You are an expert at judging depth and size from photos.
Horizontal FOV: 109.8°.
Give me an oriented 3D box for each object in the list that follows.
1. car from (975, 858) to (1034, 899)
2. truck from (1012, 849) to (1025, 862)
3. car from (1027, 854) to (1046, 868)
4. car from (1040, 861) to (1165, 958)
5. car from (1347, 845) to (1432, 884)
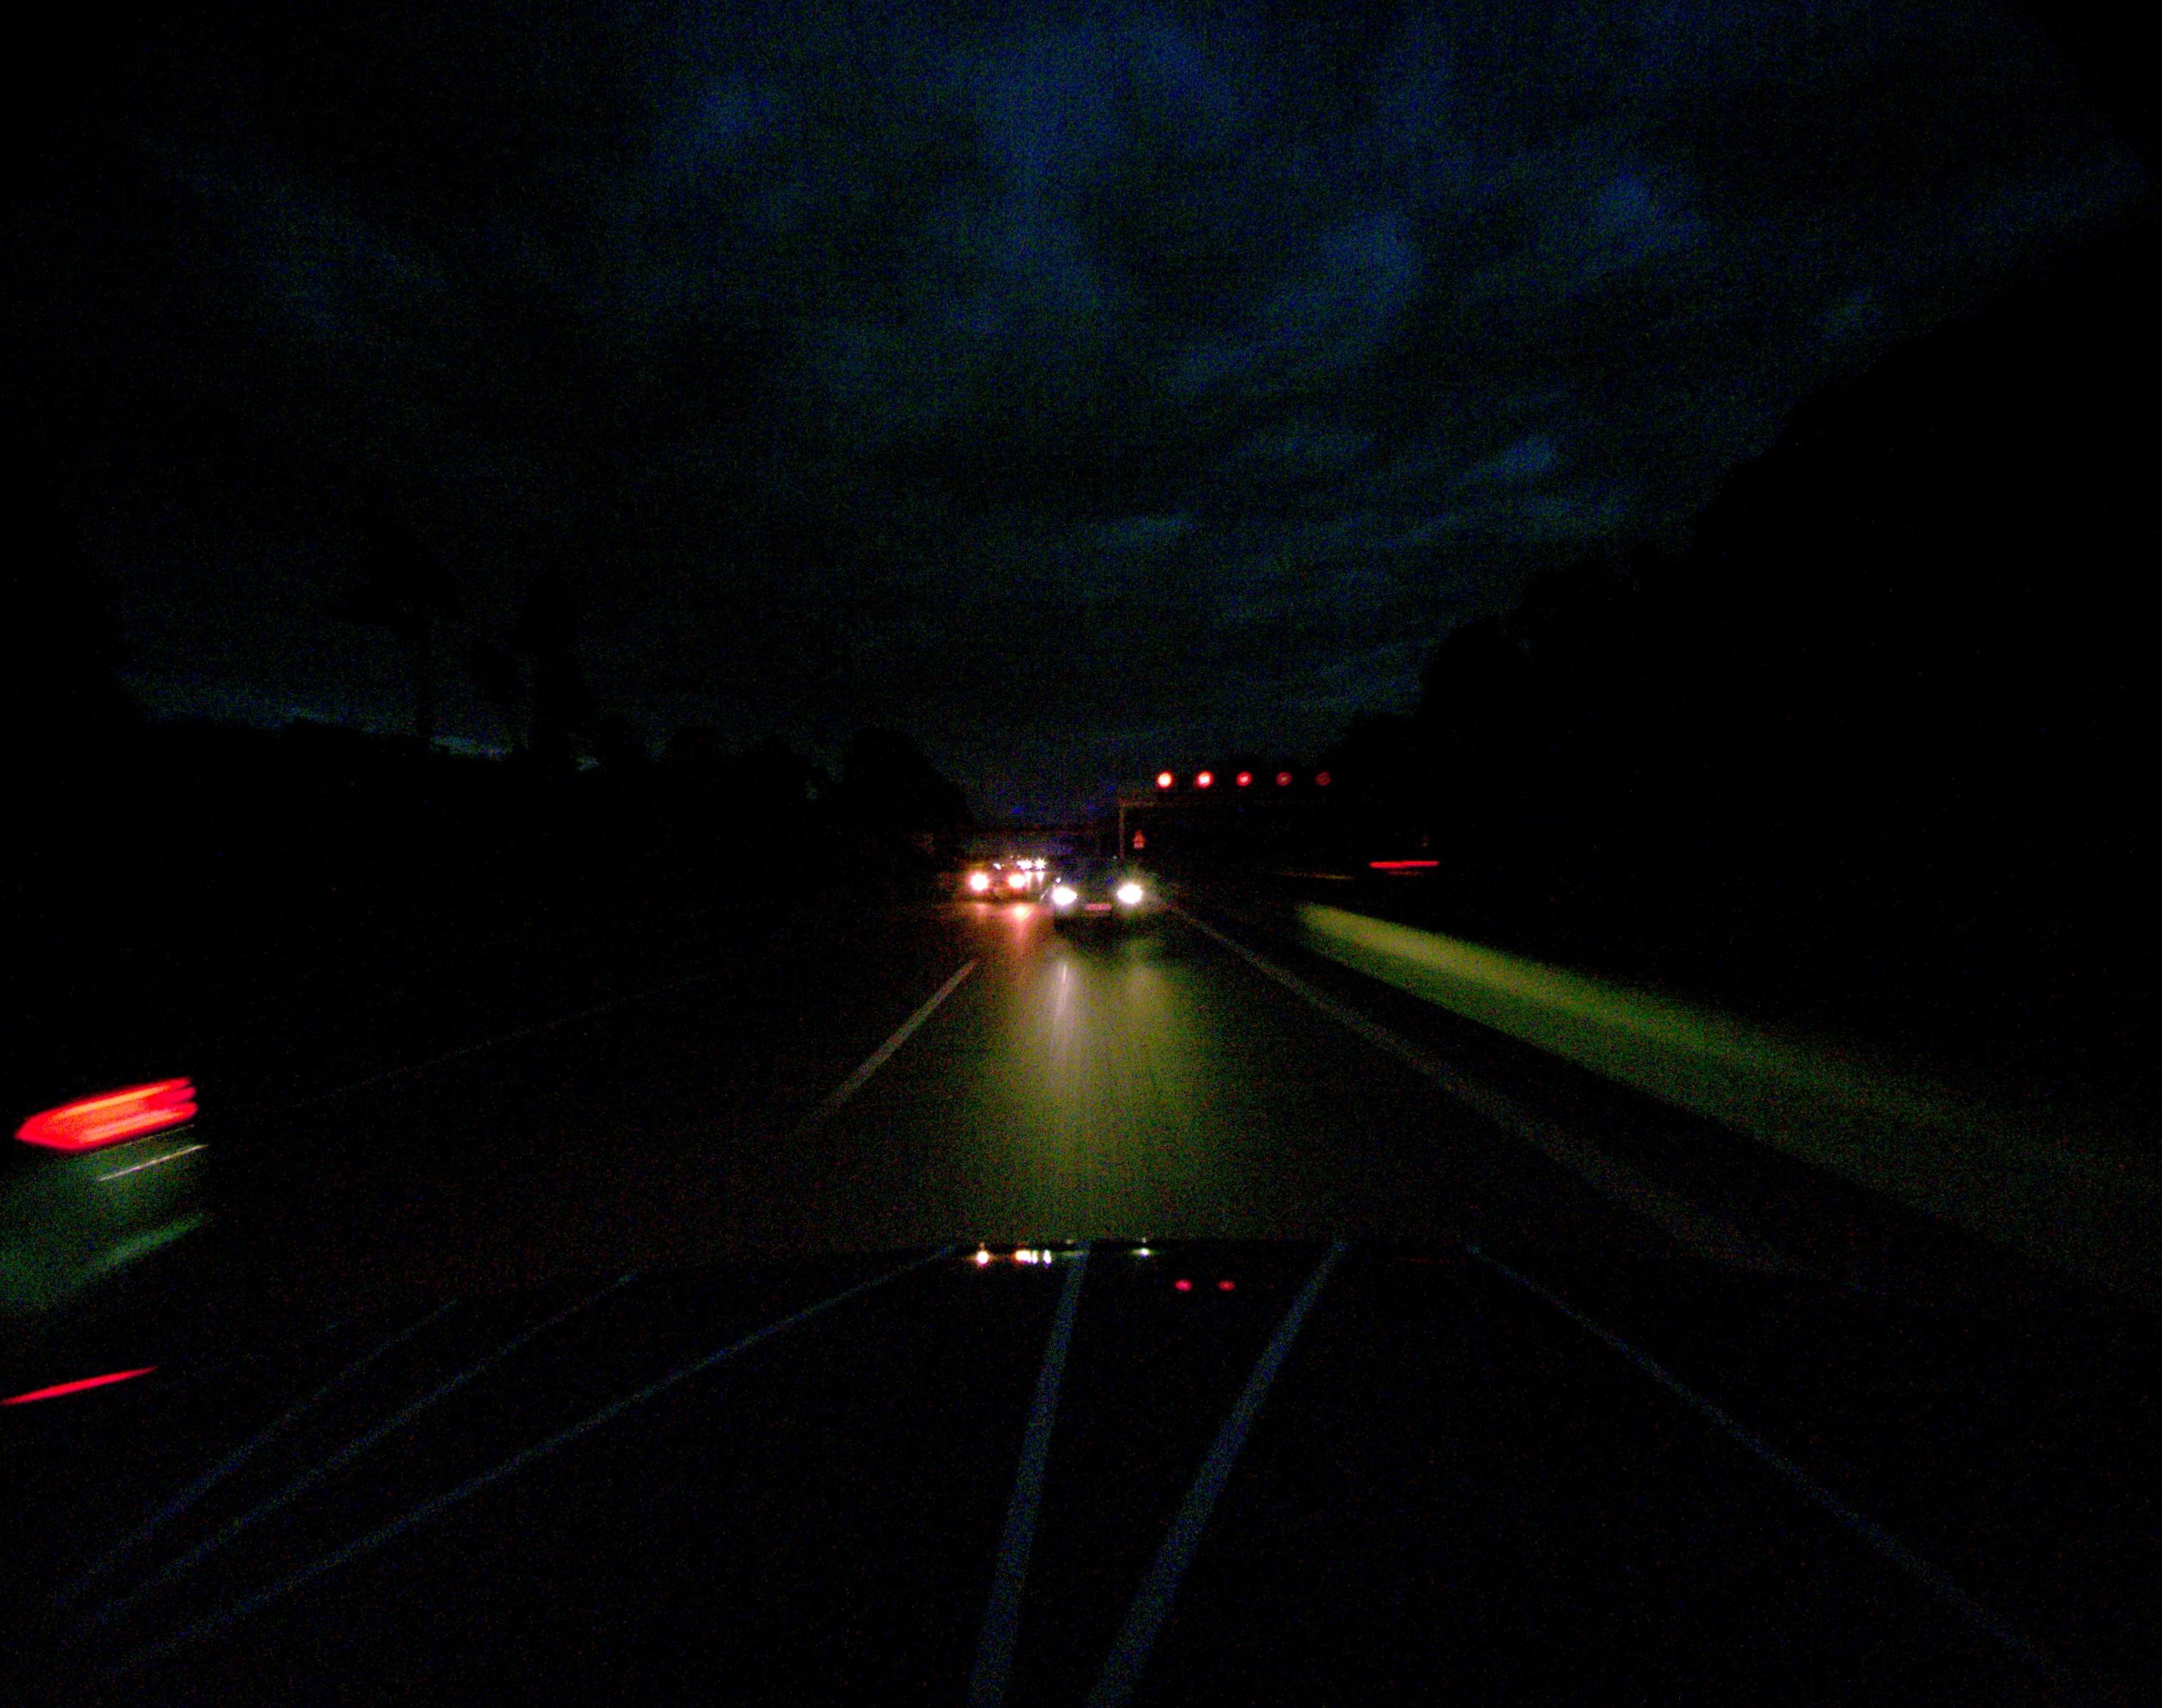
[{"bbox_3d":[-2.953,0.902,30.247,1.814,1.457,5.131,-2,0,-1],"label":"car"},{"bbox_3d":[-19.485,0.445,236.534,3.147,3.987,10.538,-2,0,-7],"label":"truck"},{"bbox_3d":[-5.044,0.831,86.756,1.999,1.539,4.000,-2,-1,-2],"label":"car"},{"bbox_3d":[0.386,0.877,13.877,1.879,1.435,4.452,-2,-1,1],"label":"car"},{"bbox_3d":[12.168,0.372,30.288,1.623,1.397,4.314,-2,0,0],"label":"car"}]
